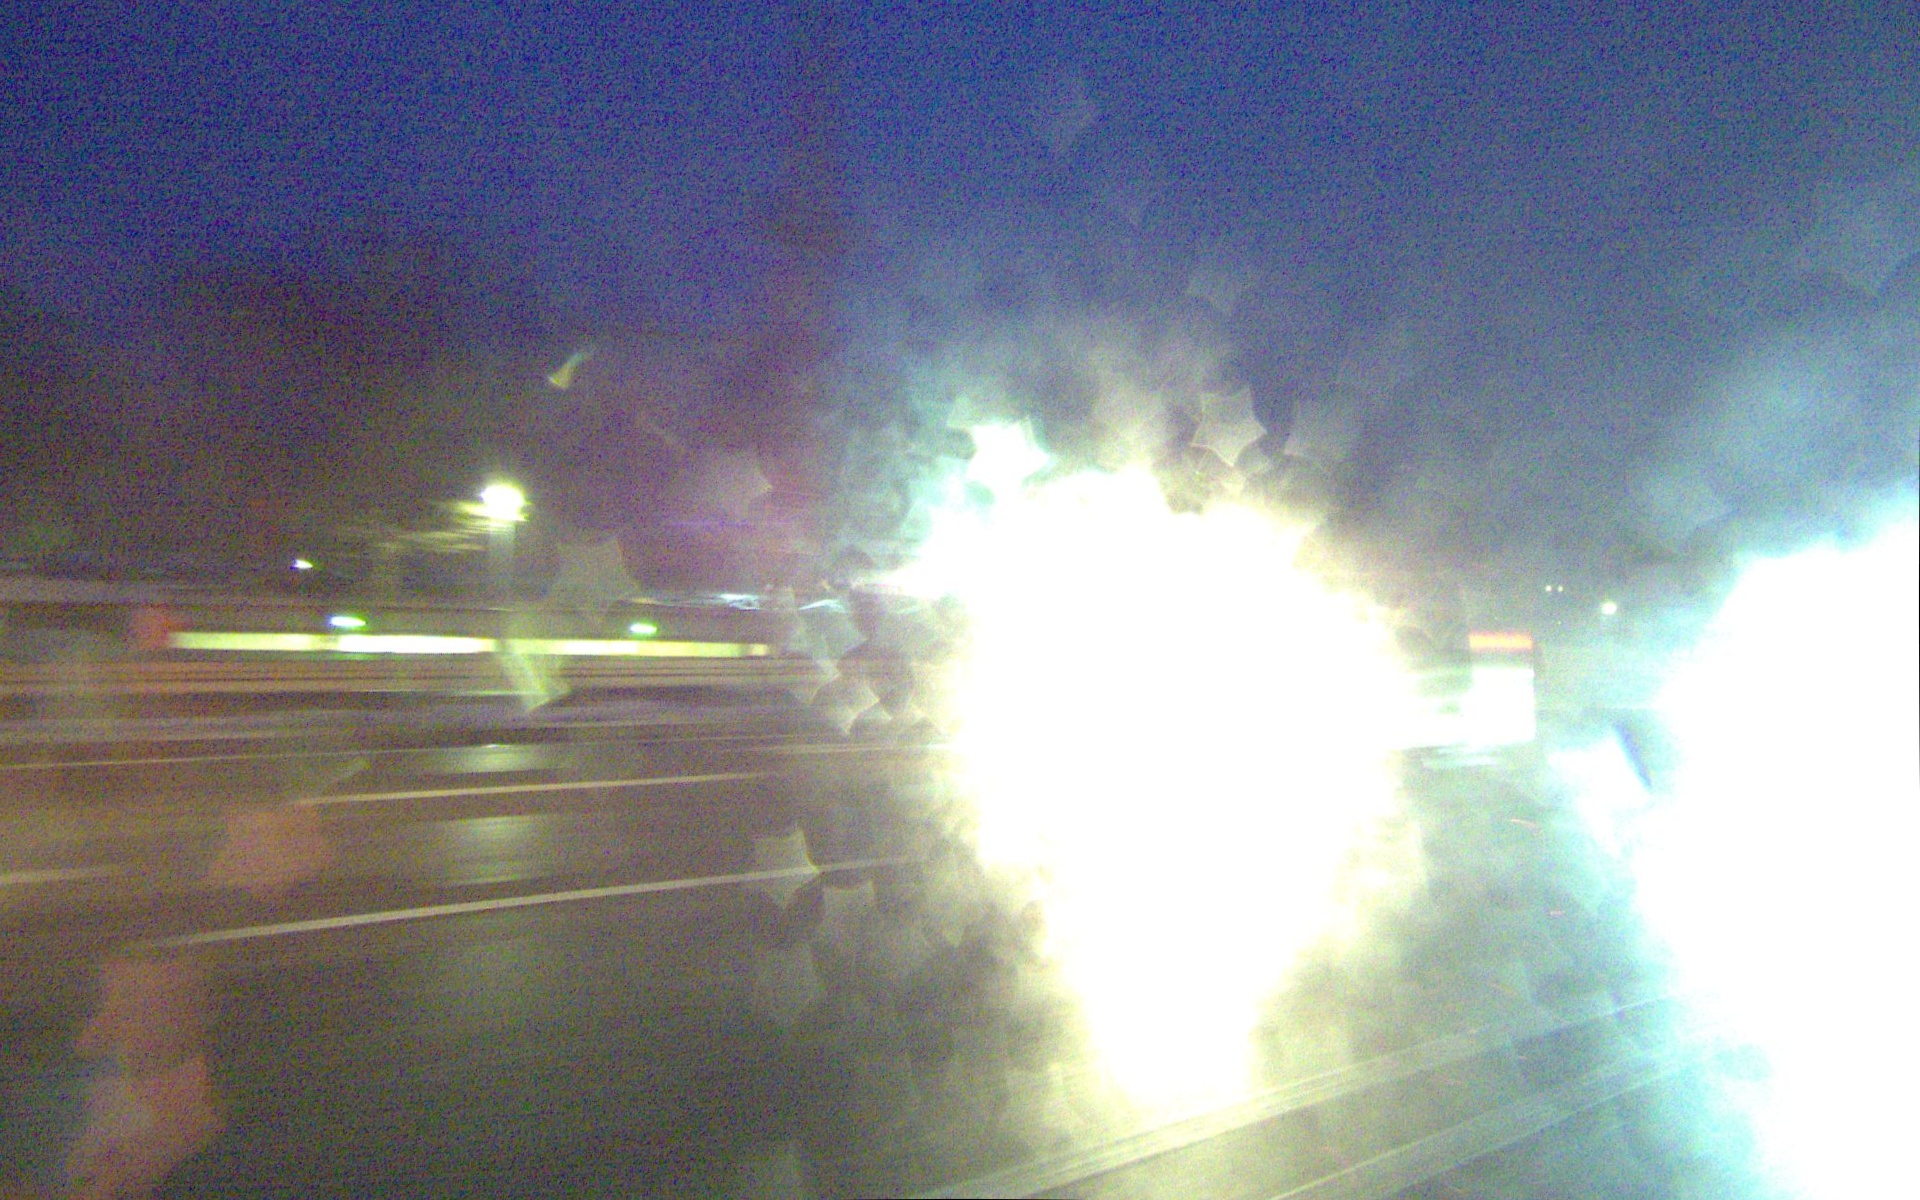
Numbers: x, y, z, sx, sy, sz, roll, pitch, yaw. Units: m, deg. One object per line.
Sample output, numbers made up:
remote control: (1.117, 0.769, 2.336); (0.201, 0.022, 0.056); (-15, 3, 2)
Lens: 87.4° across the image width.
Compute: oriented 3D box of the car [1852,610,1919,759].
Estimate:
car: (12.676, 0.985, 11.519); (4.619, 1.596, 2.103); (2, 0, -27)

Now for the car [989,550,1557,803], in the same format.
car: (3.057, 0.626, 9.561); (5.249, 1.890, 1.987); (1, 0, -26)
